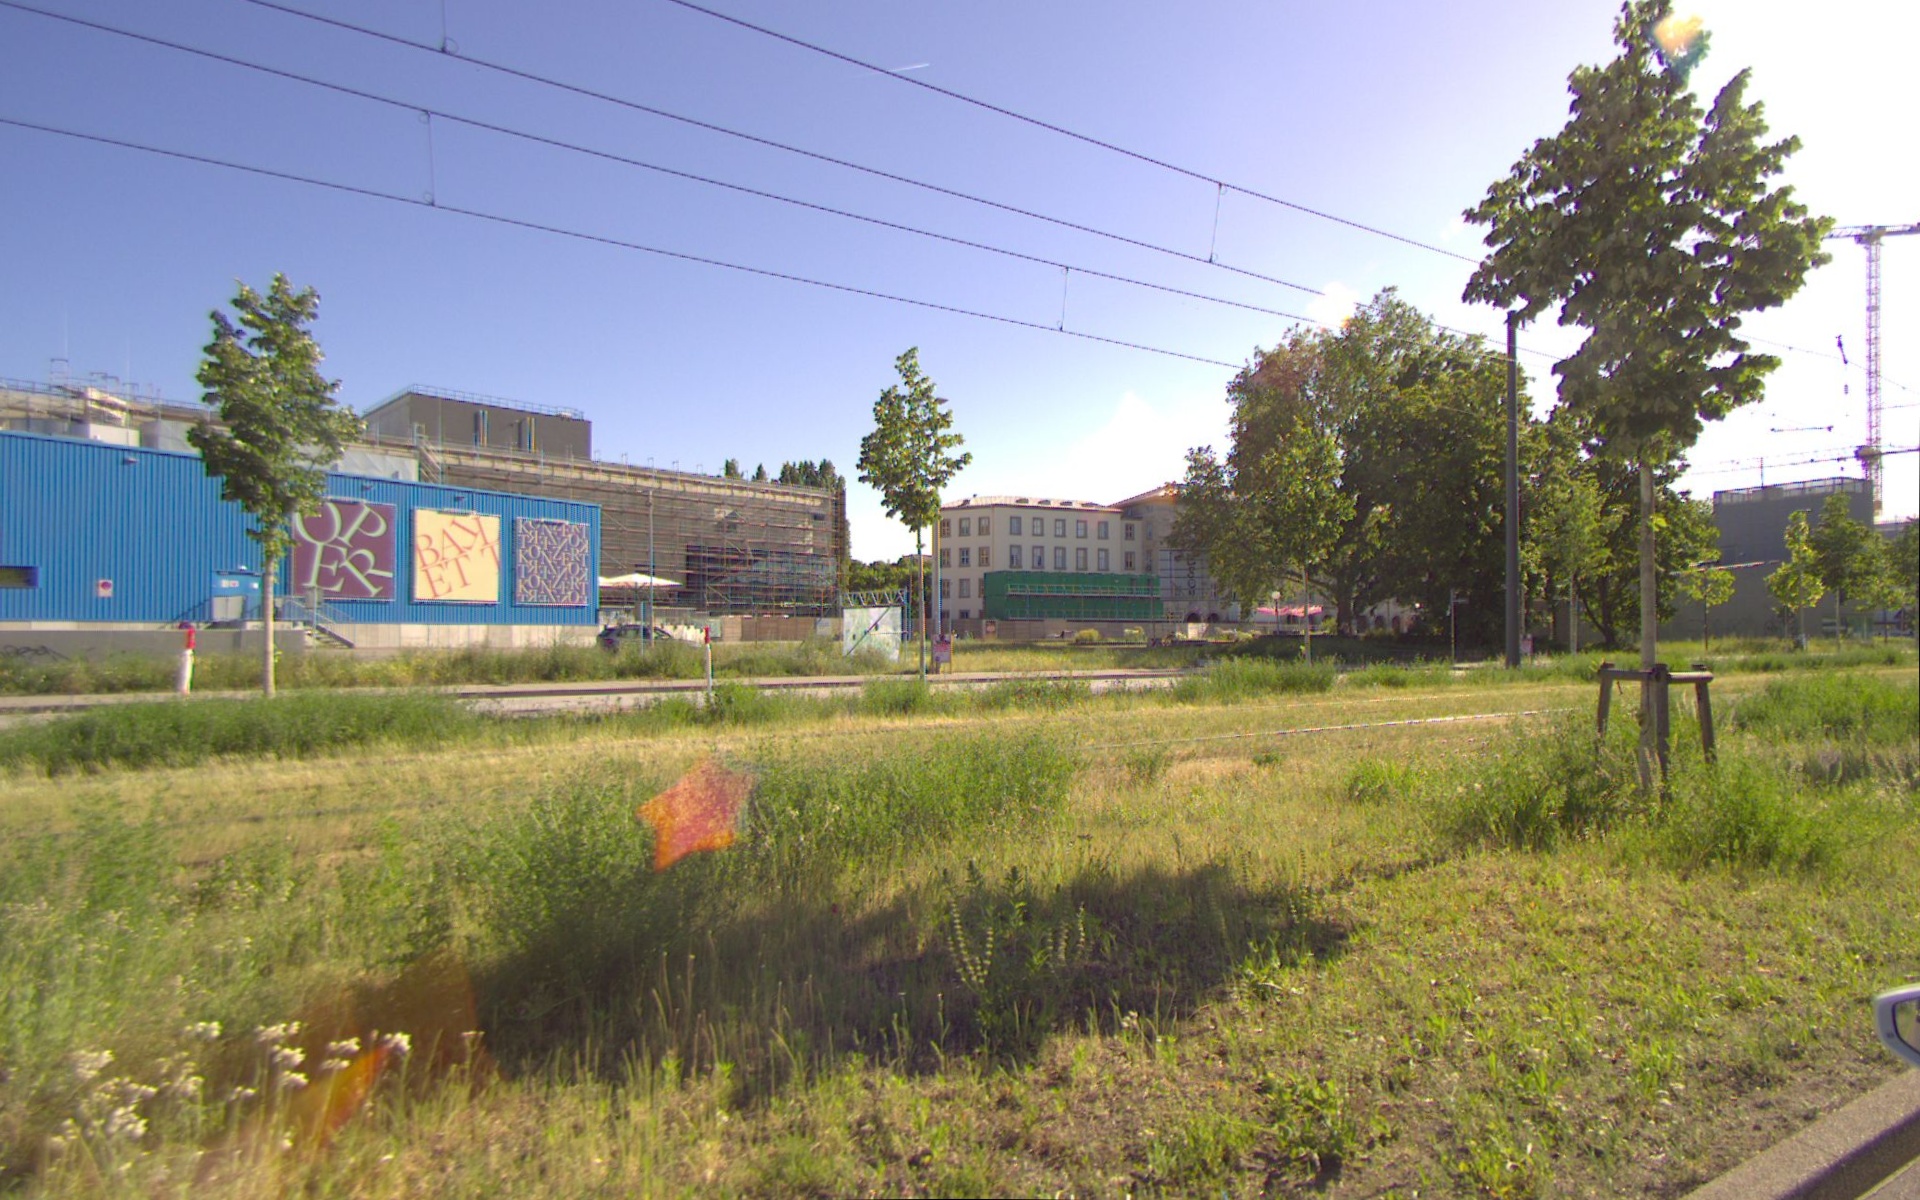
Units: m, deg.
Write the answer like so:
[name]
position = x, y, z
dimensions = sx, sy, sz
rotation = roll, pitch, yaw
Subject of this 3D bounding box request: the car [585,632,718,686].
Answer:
[car]
position = -9.871, 1.871, 32.233
dimensions = 3.814, 1.556, 1.550
rotation = 2, 0, -31
